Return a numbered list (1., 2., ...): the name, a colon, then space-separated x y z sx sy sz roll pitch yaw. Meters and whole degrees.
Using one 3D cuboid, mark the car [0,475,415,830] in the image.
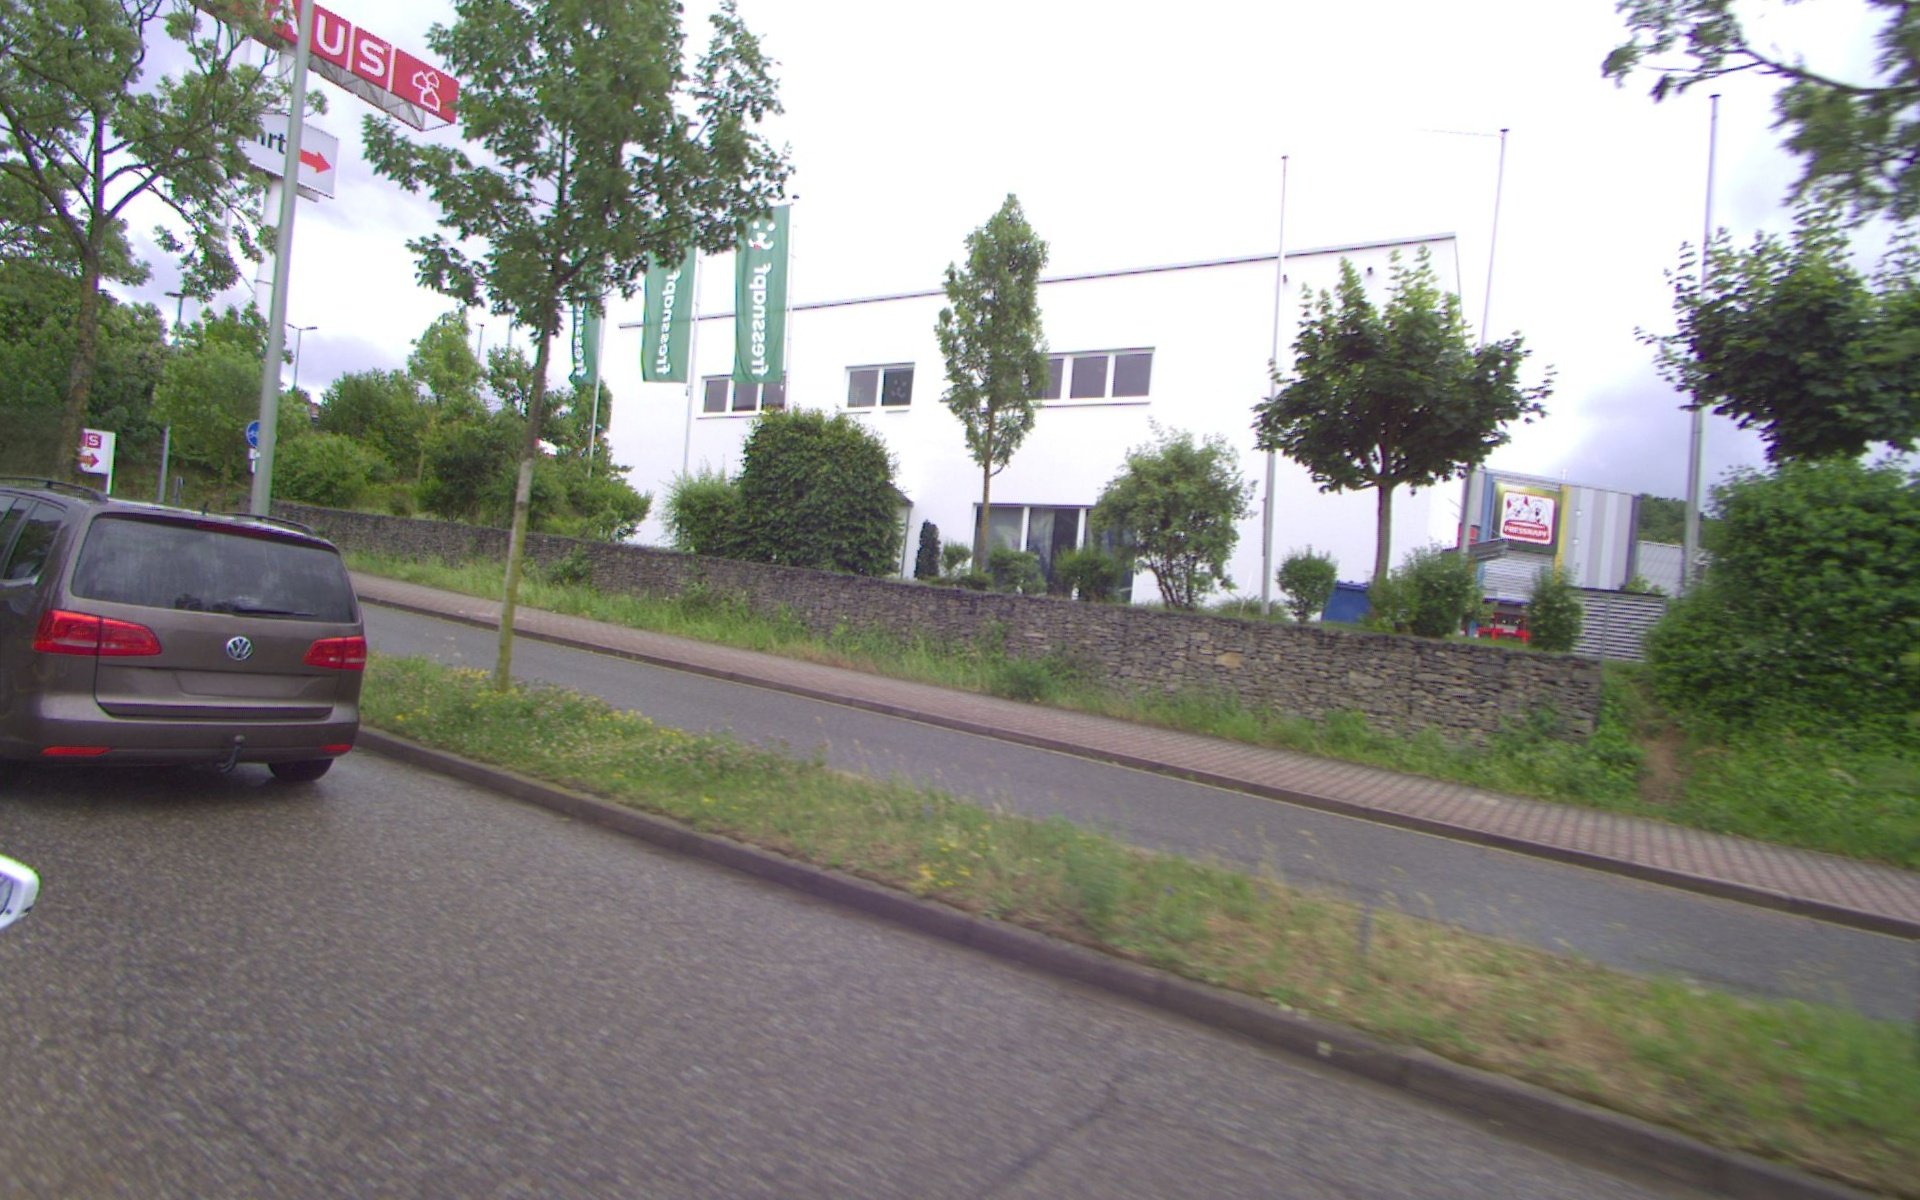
1. car: -5.573 0.141 6.345 4.147 1.599 1.689 6 -2 30
